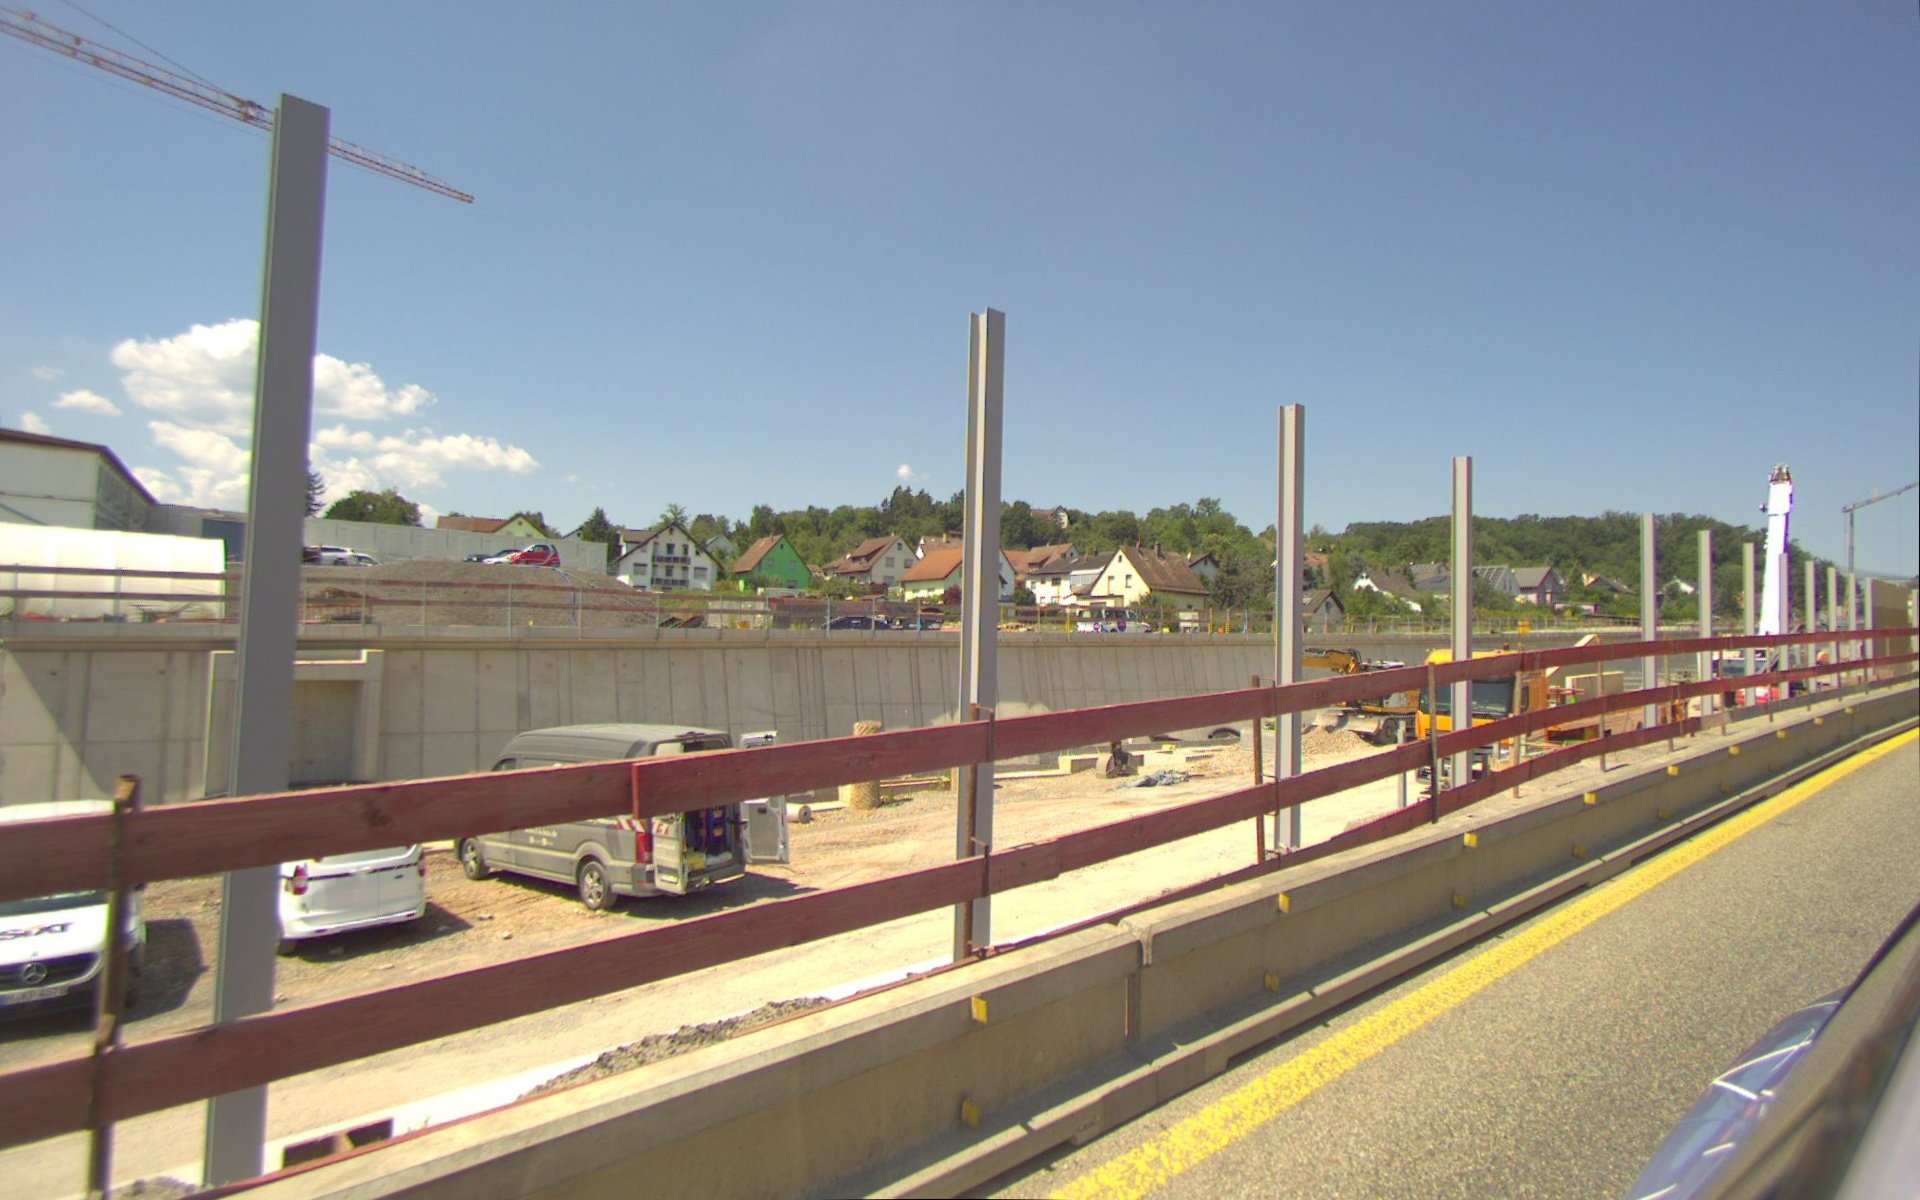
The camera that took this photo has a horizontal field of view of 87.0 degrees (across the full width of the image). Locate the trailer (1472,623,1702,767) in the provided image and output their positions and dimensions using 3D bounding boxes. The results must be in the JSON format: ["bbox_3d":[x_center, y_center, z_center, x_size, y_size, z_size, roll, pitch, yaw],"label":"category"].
[{"bbox_3d":[19.923,2.609,31.567,12.669,3.394,2.444,-1,0,-41],"label":"trailer"}]

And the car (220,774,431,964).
[{"bbox_3d":[-8.904,3.557,14.089,3.860,1.708,1.666,-2,-2,45],"label":"car"}]

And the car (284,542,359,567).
[{"bbox_3d":[-42.380,-2.982,67.184,4.136,1.505,1.729,-1,0,-37],"label":"car"}]

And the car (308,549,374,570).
[{"bbox_3d":[-47.027,-3.071,76.906,4.139,1.505,1.728,-1,0,-39],"label":"car"}]

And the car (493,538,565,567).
[{"bbox_3d":[-24.900,-2.720,58.507,3.544,1.505,1.544,-1,0,-41],"label":"car"}]

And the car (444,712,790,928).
[{"bbox_3d":[-5.638,3.206,16.125,6.267,2.615,2.027,-3,-4,37],"label":"car"}]

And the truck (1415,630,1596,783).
[{"bbox_3d":[14.586,2.625,26.939,5.341,3.447,2.503,-1,0,-41],"label":"truck"}]

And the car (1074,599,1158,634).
[{"bbox_3d":[7.873,0.796,50.791,4.527,1.623,1.656,-1,0,-42],"label":"car"}]

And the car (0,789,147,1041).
[{"bbox_3d":[-10.644,3.440,11.770,1.689,1.792,4.797,3,-4,-40],"label":"car"}]

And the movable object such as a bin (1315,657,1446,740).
[{"bbox_3d":[16.883,3.866,40.682,3.924,2.820,3.270,0,0,-35],"label":"movable object such as a bin"}]

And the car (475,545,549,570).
[{"bbox_3d":[-29.458,-2.767,66.574,4.141,1.505,1.727,-1,0,-41],"label":"car"}]
